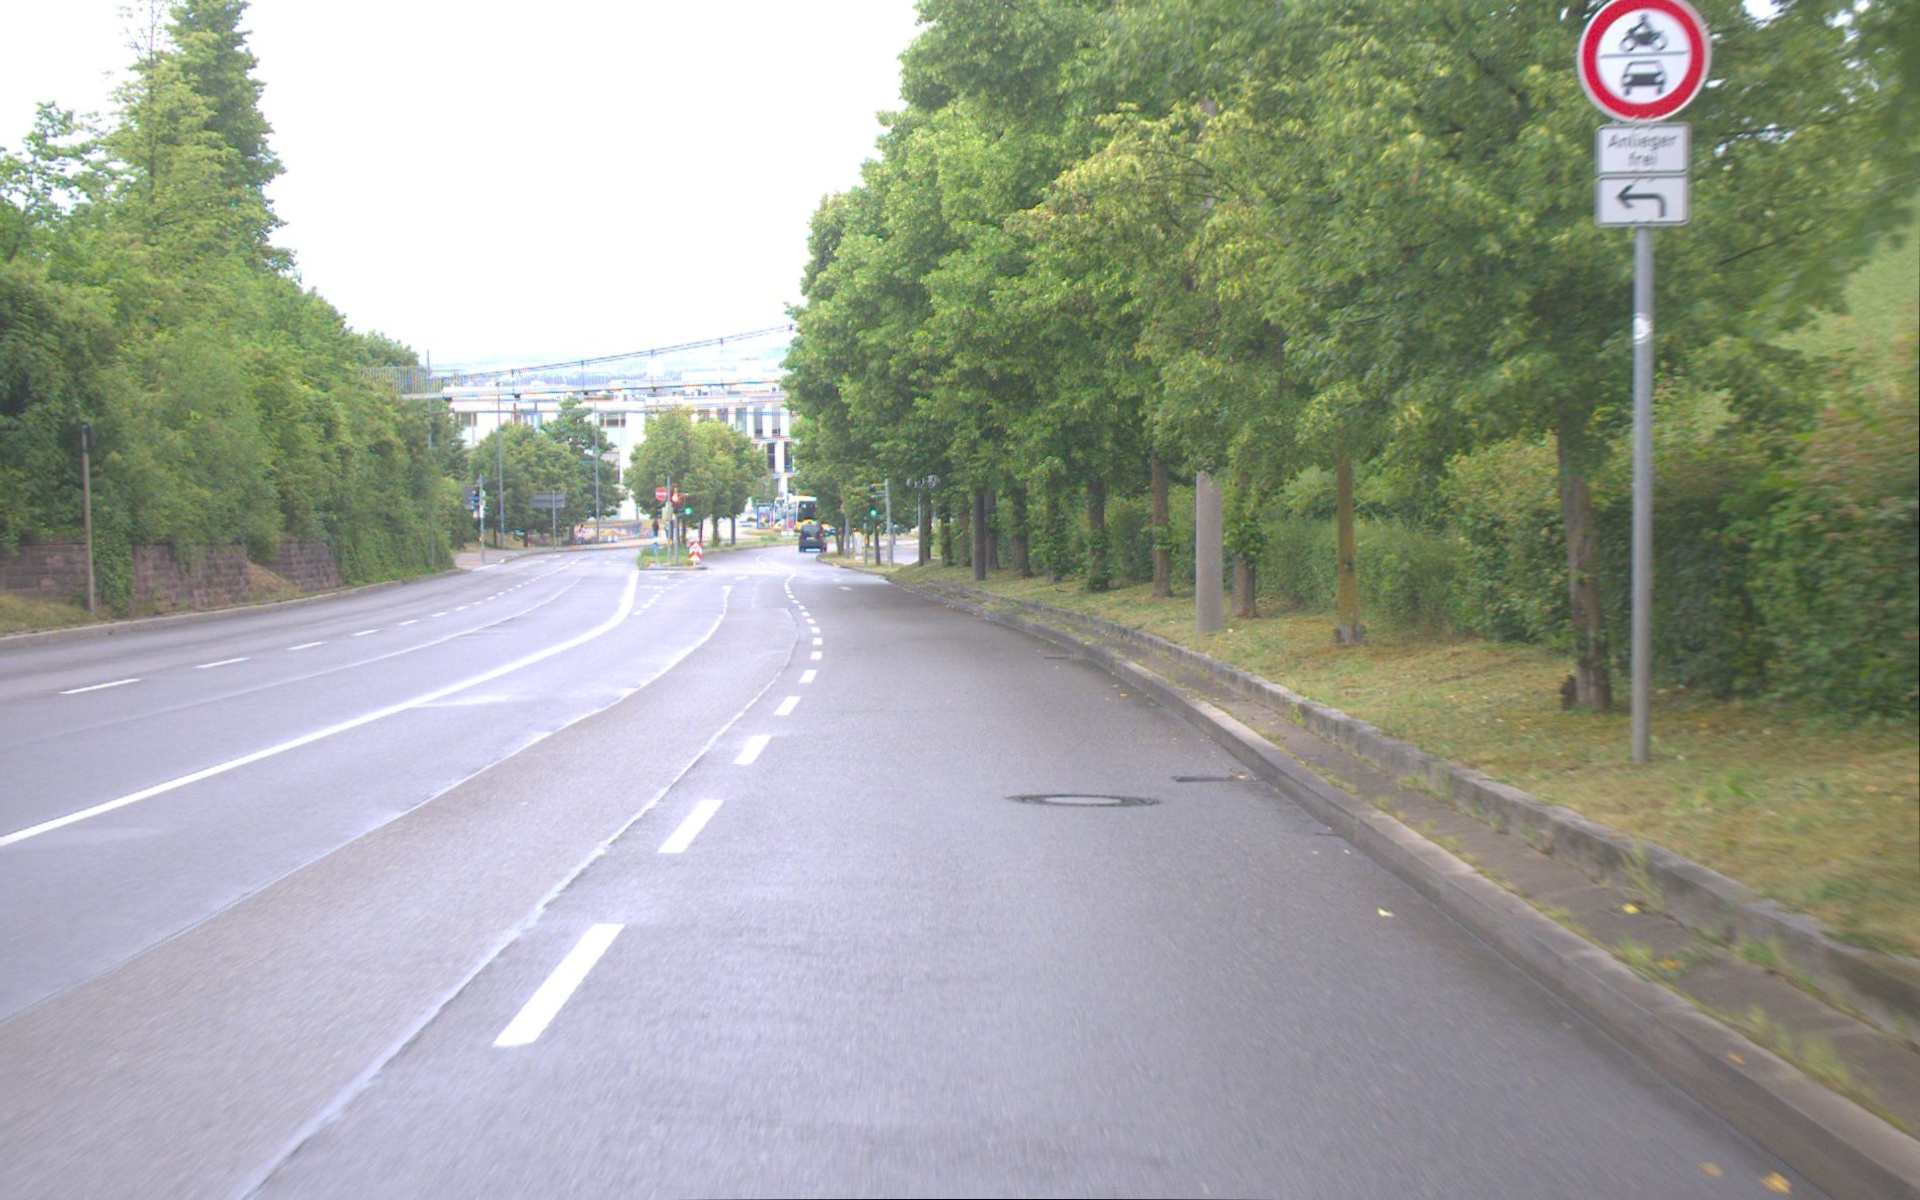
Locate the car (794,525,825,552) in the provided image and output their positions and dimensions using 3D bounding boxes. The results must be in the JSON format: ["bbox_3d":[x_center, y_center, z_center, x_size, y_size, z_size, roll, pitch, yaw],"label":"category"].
[{"bbox_3d":[-10.003,-4.085,228.581,1.849,1.696,3.793,1,0,0],"label":"car"}]
